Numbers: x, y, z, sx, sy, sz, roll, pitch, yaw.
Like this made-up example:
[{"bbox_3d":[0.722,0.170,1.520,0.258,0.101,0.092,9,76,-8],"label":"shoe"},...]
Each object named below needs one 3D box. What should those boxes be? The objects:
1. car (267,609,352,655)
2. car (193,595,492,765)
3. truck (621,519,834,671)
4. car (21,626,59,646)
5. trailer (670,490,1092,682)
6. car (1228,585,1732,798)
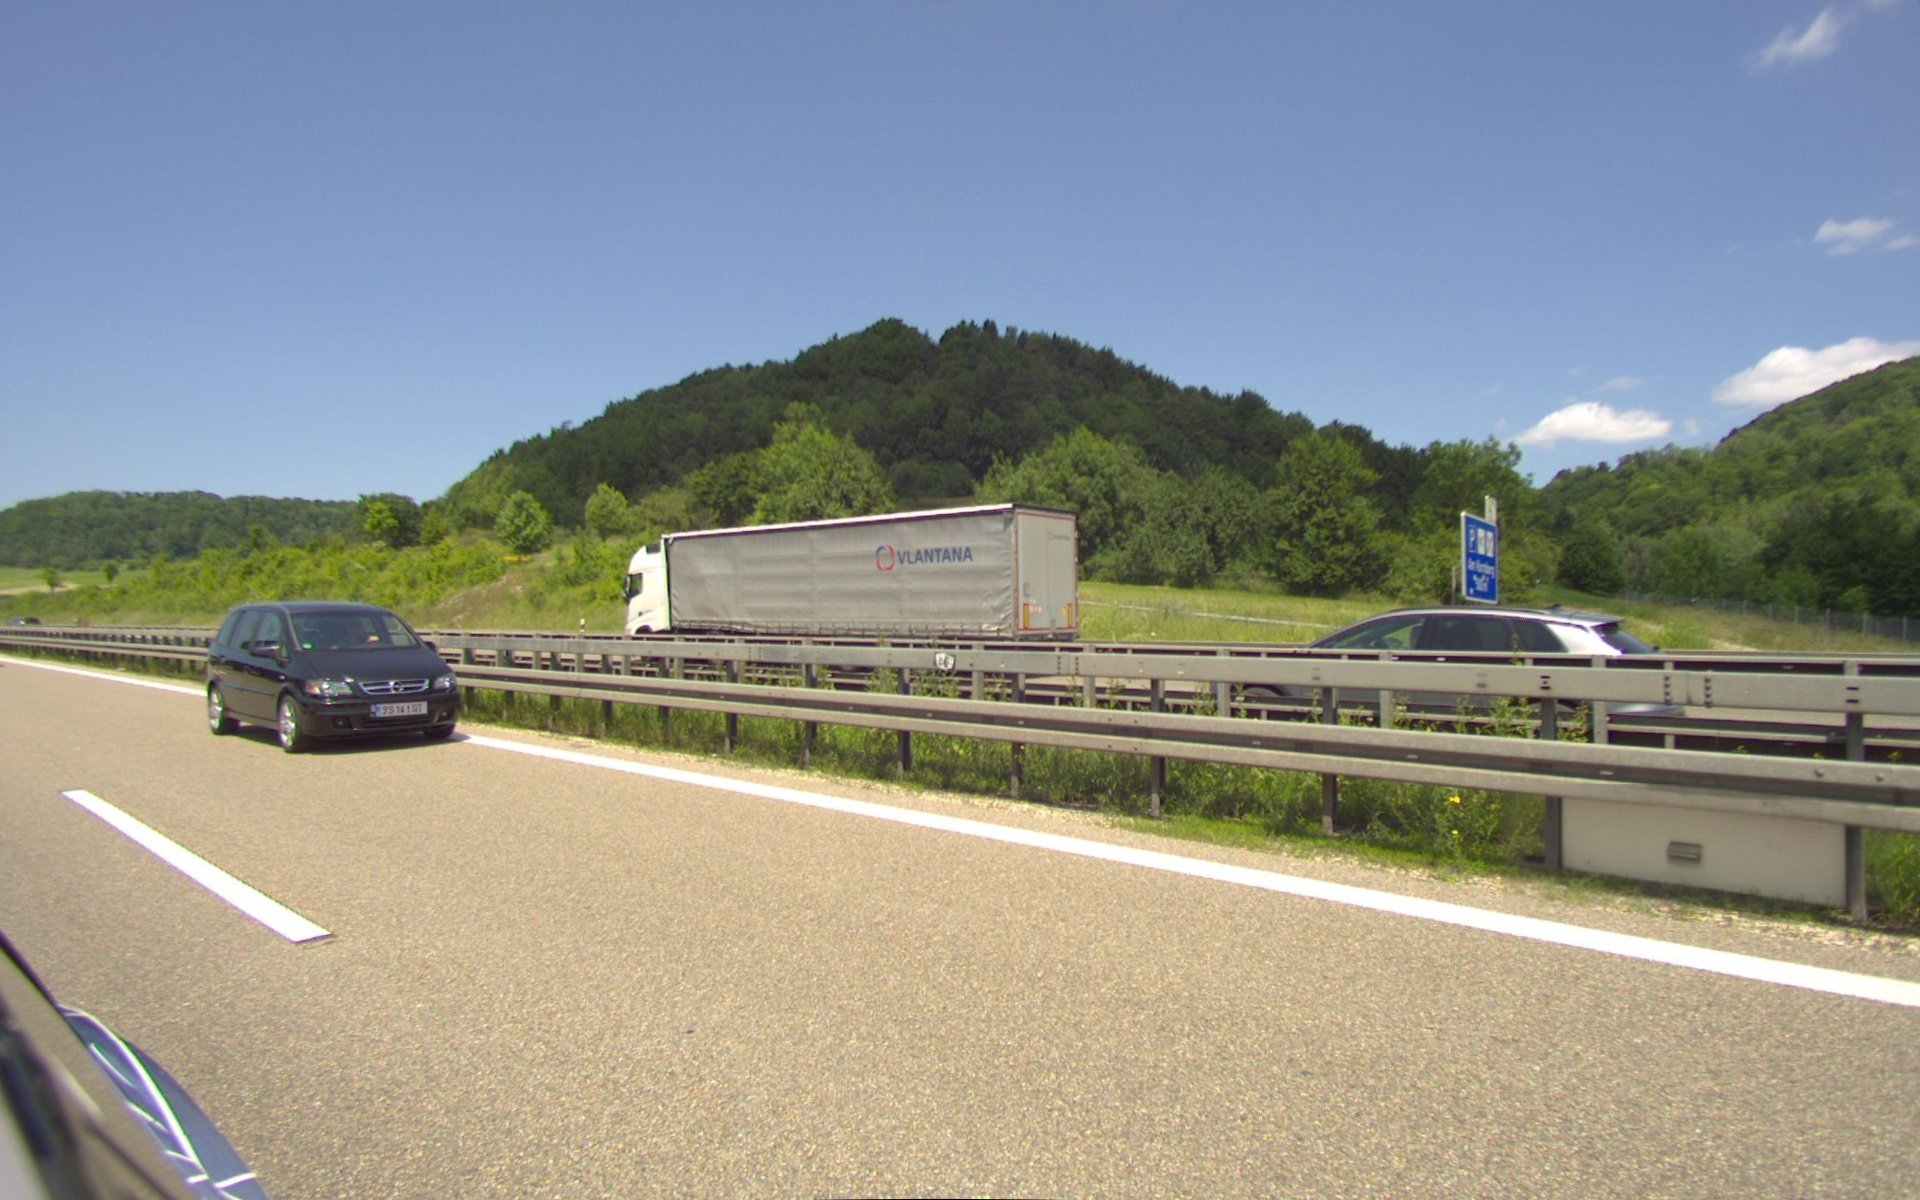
[{"bbox_3d":[-28.045,1.354,43.581,4.405,1.867,1.973,-1,0,42],"label":"car"},{"bbox_3d":[-7.418,0.811,11.966,4.444,1.647,1.782,-1,-1,41],"label":"car"},{"bbox_3d":[-7.439,-0.138,31.774,7.227,4.264,2.769,0,0,41],"label":"truck"},{"bbox_3d":[-76.485,2.946,84.096,4.075,1.622,1.830,-1,-1,40],"label":"car"},{"bbox_3d":[-2.876,-0.284,27.799,13.607,4.222,2.825,0,0,41],"label":"trailer"},{"bbox_3d":[5.123,0.779,10.285,4.278,1.722,1.828,-1,-1,39],"label":"car"}]
